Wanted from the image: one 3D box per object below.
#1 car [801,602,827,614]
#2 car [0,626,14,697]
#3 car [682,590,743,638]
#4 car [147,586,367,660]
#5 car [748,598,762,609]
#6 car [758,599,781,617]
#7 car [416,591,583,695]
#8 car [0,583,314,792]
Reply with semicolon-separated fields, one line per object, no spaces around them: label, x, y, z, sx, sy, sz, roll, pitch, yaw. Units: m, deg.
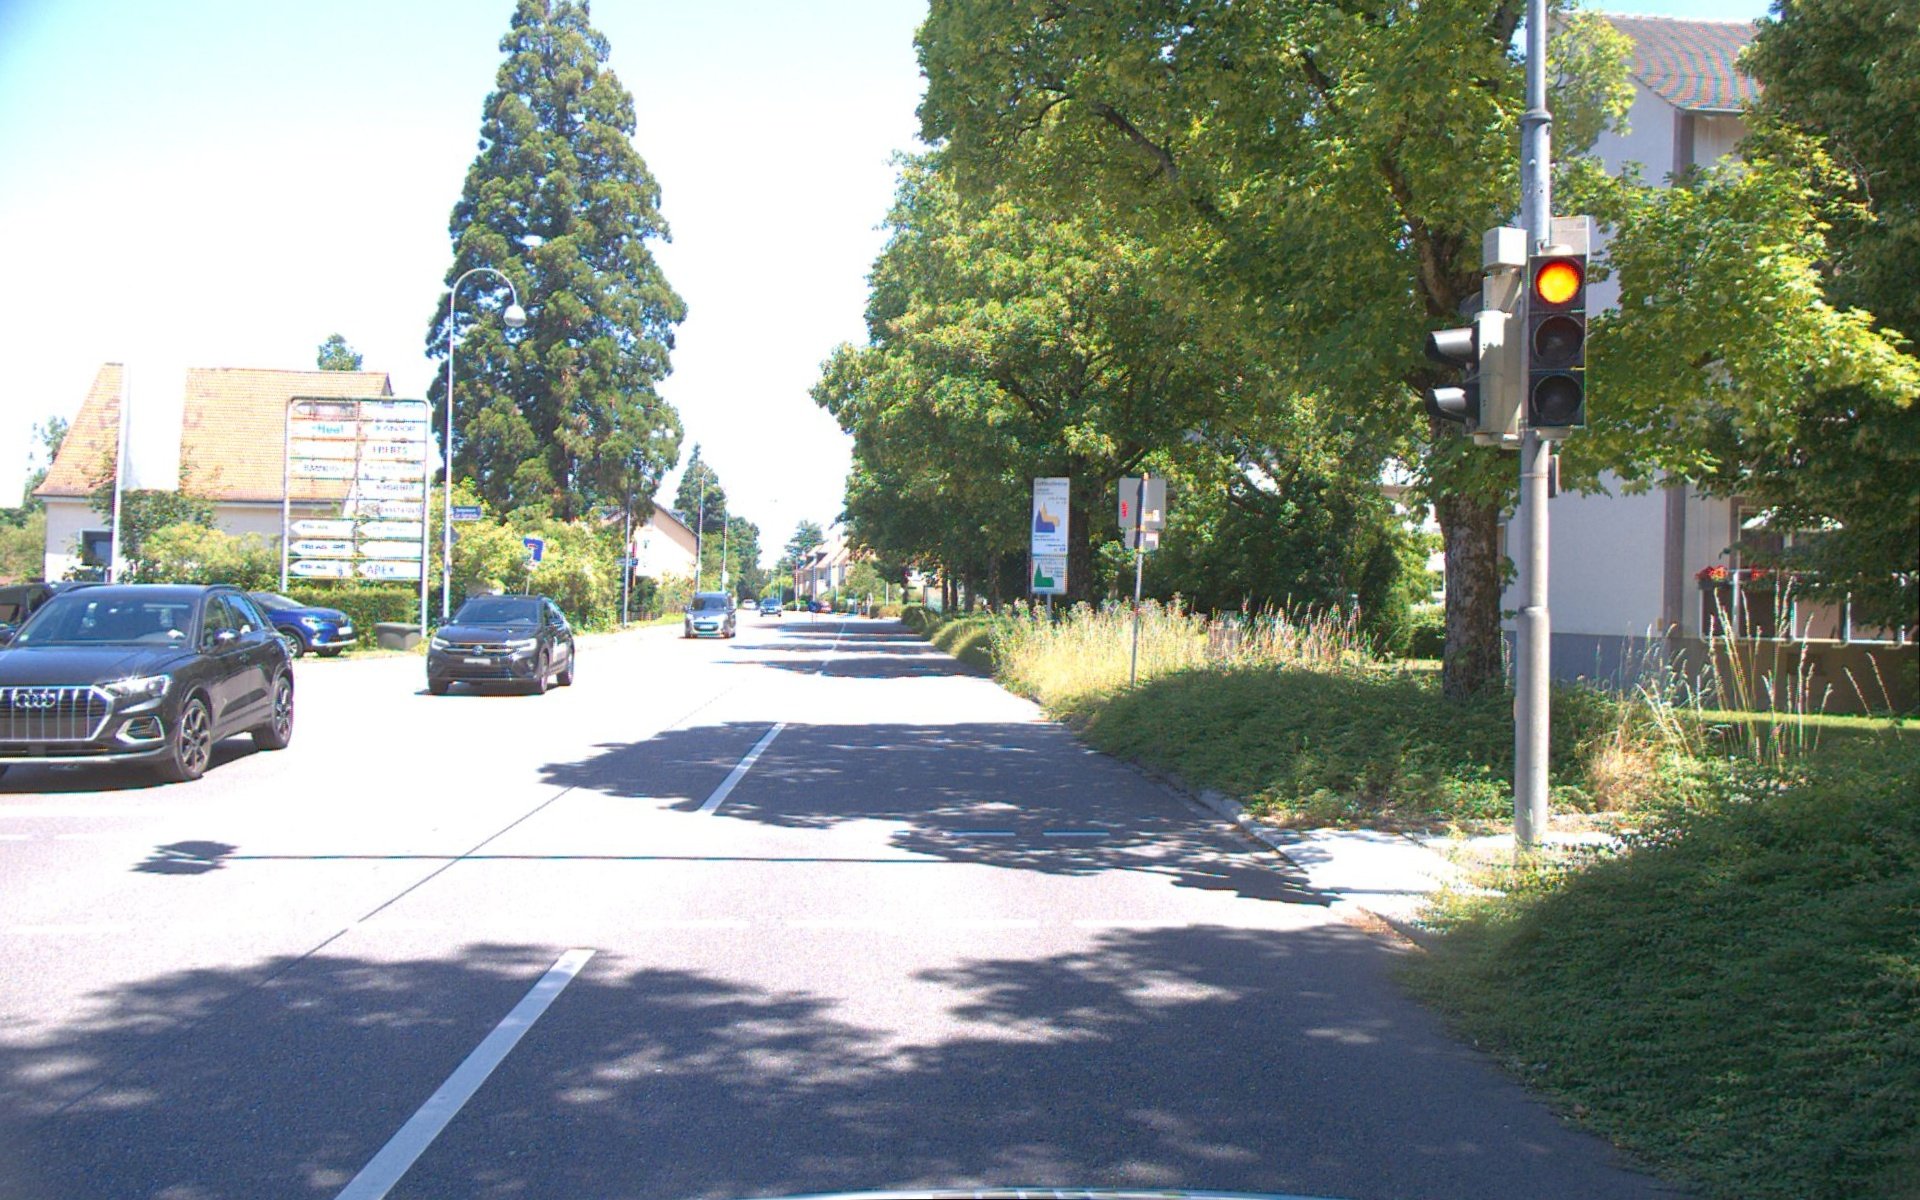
car;-16.788;0.926;189.787;1.914;1.383;4.439;0;0;-19
car;-24.743;1.531;40.061;1.775;1.752;4.081;1;0;-8
car;-9.644;0.521;64.783;1.774;1.793;4.569;1;0;-1
car;-15.209;0.480;35.873;4.047;1.531;1.779;0;0;8
car;-30.404;0.497;245.032;1.647;1.713;3.998;0;0;-2
car;-16.452;0.686;143.018;1.758;1.563;4.312;1;0;-3
car;-7.255;0.643;26.452;1.832;1.533;4.049;0;0;-5
car;-7.276;0.662;14.668;1.890;1.582;4.295;0;0;-8
